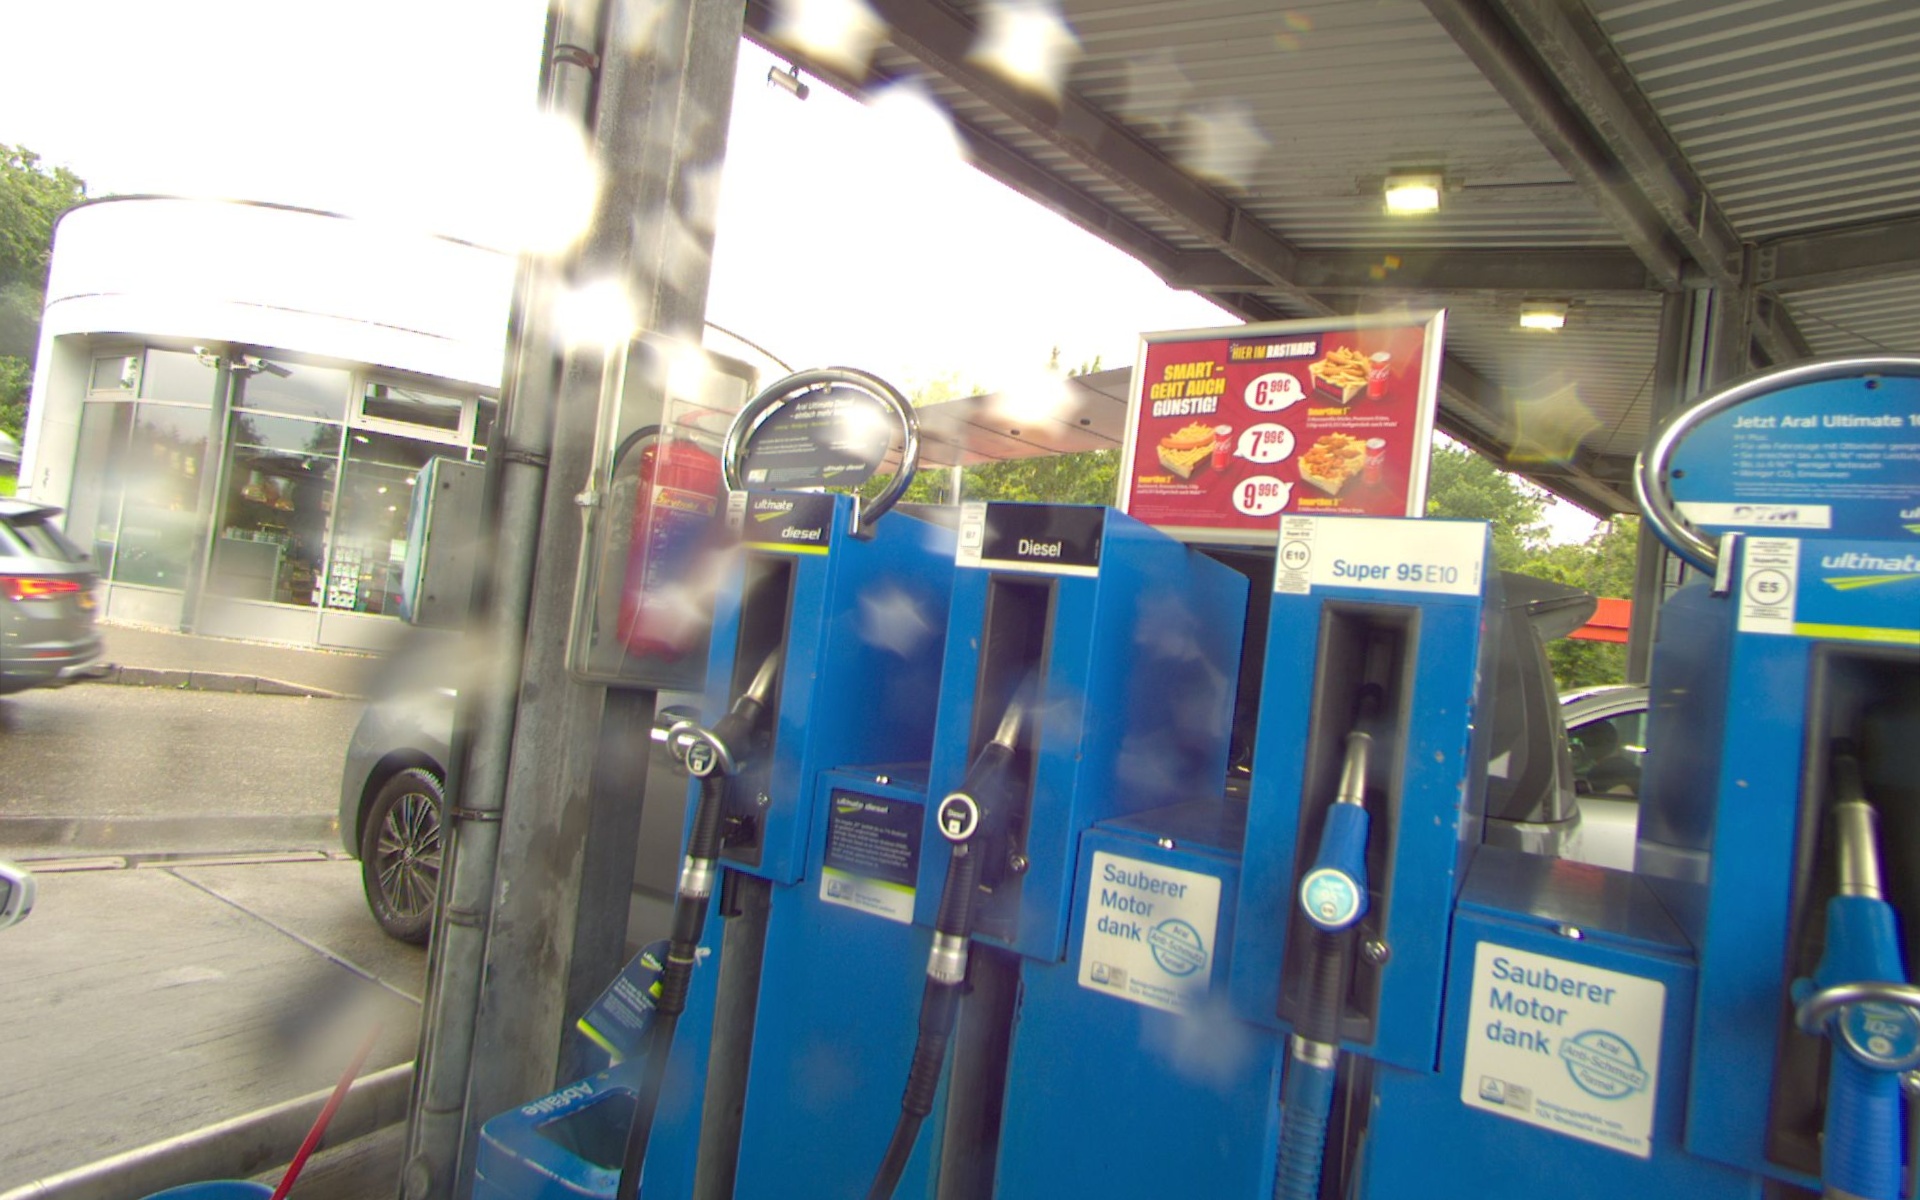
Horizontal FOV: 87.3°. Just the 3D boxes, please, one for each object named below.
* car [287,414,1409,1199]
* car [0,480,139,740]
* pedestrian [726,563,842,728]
[{"bbox_3d":[-0.586,0.482,3.980,3.934,1.971,1.819,7,-1,32],"label":"car"},{"bbox_3d":[-7.886,-0.216,6.061,4.290,1.606,1.872,9,-1,-36],"label":"car"},{"bbox_3d":[-2.201,0.569,12.603,0.991,1.917,0.716,7,0,34],"label":"pedestrian"}]
